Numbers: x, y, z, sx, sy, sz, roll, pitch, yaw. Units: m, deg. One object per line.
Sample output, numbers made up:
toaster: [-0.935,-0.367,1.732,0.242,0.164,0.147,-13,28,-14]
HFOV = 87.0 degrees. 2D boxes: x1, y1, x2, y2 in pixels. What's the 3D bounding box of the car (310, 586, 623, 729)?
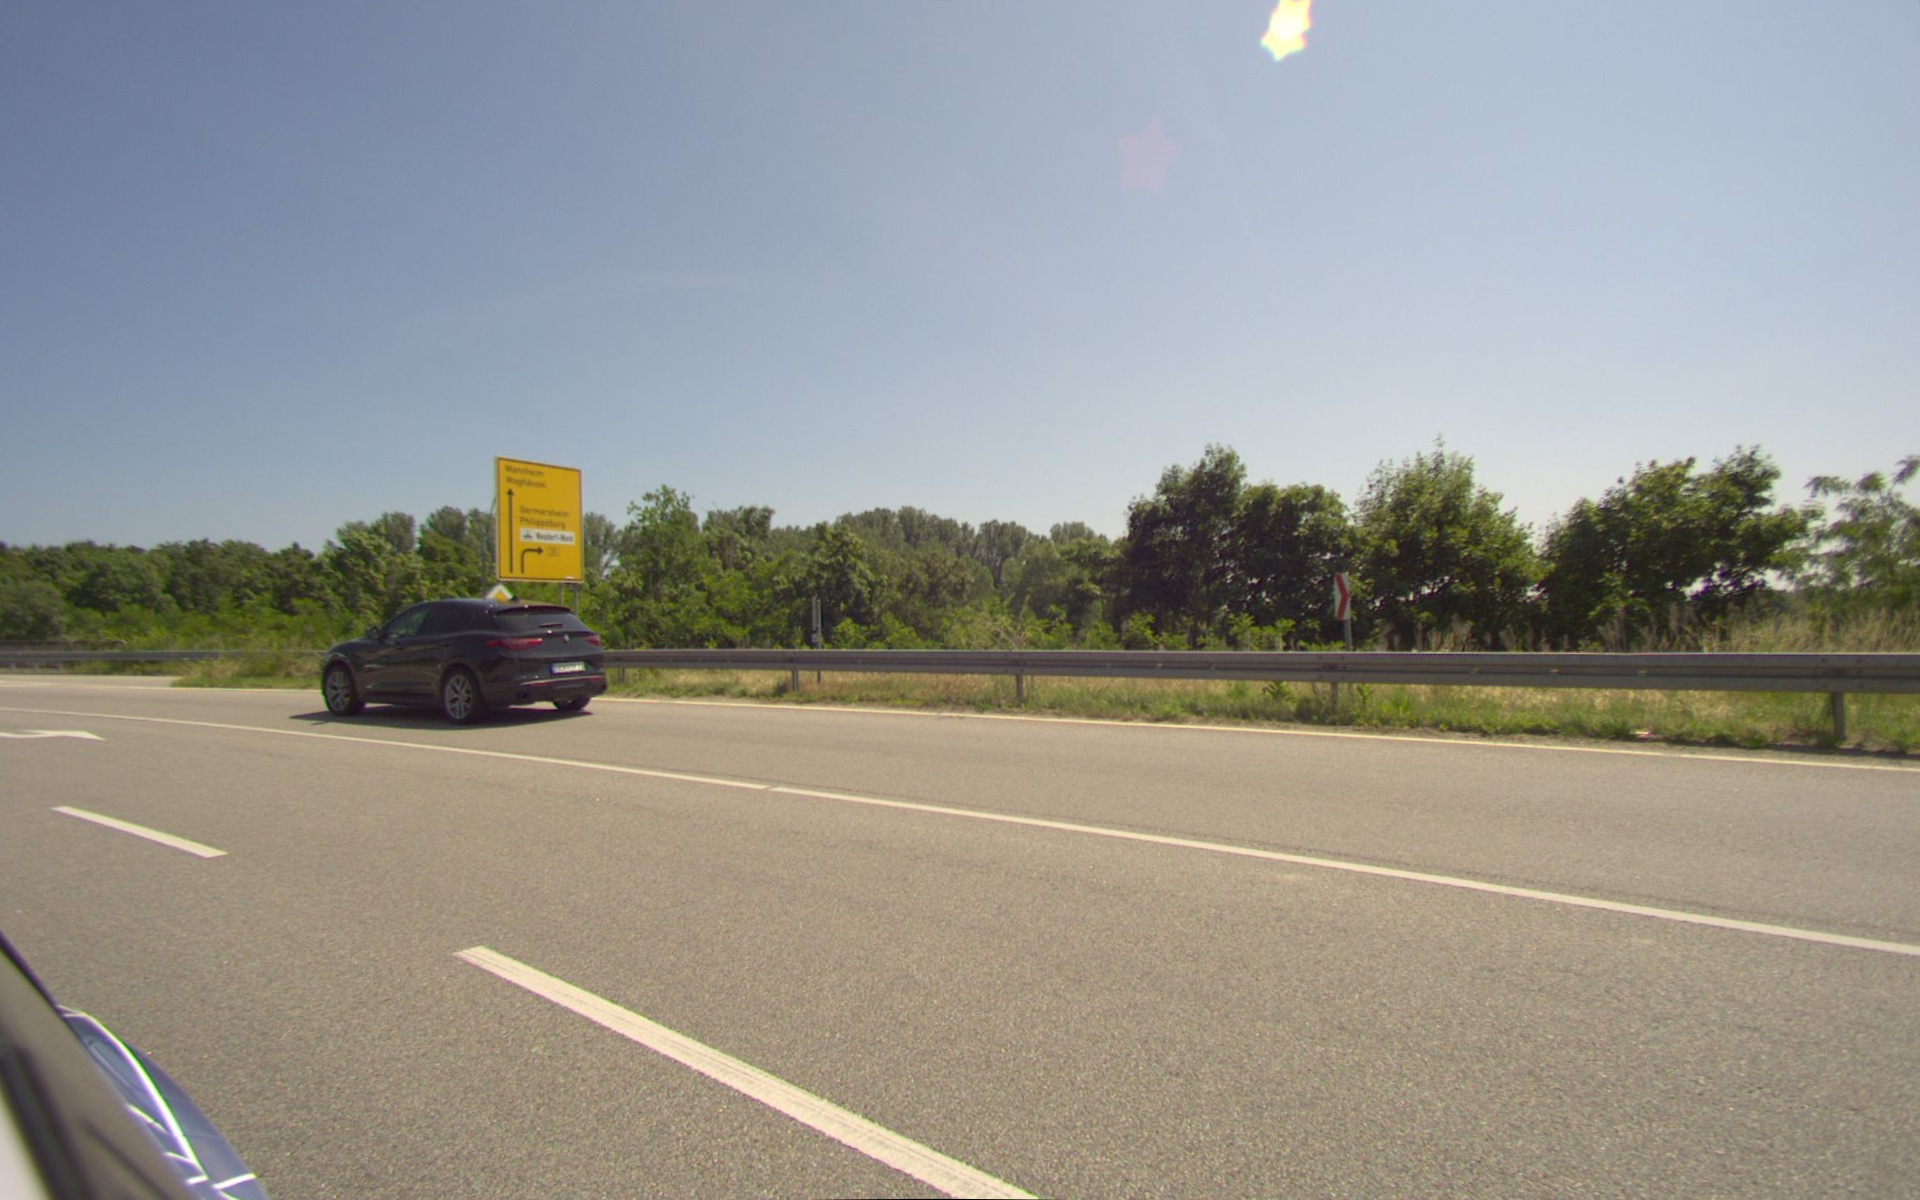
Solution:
car: [-6.990,0.753,14.192,4.551,1.670,1.699,-2,2,32]
